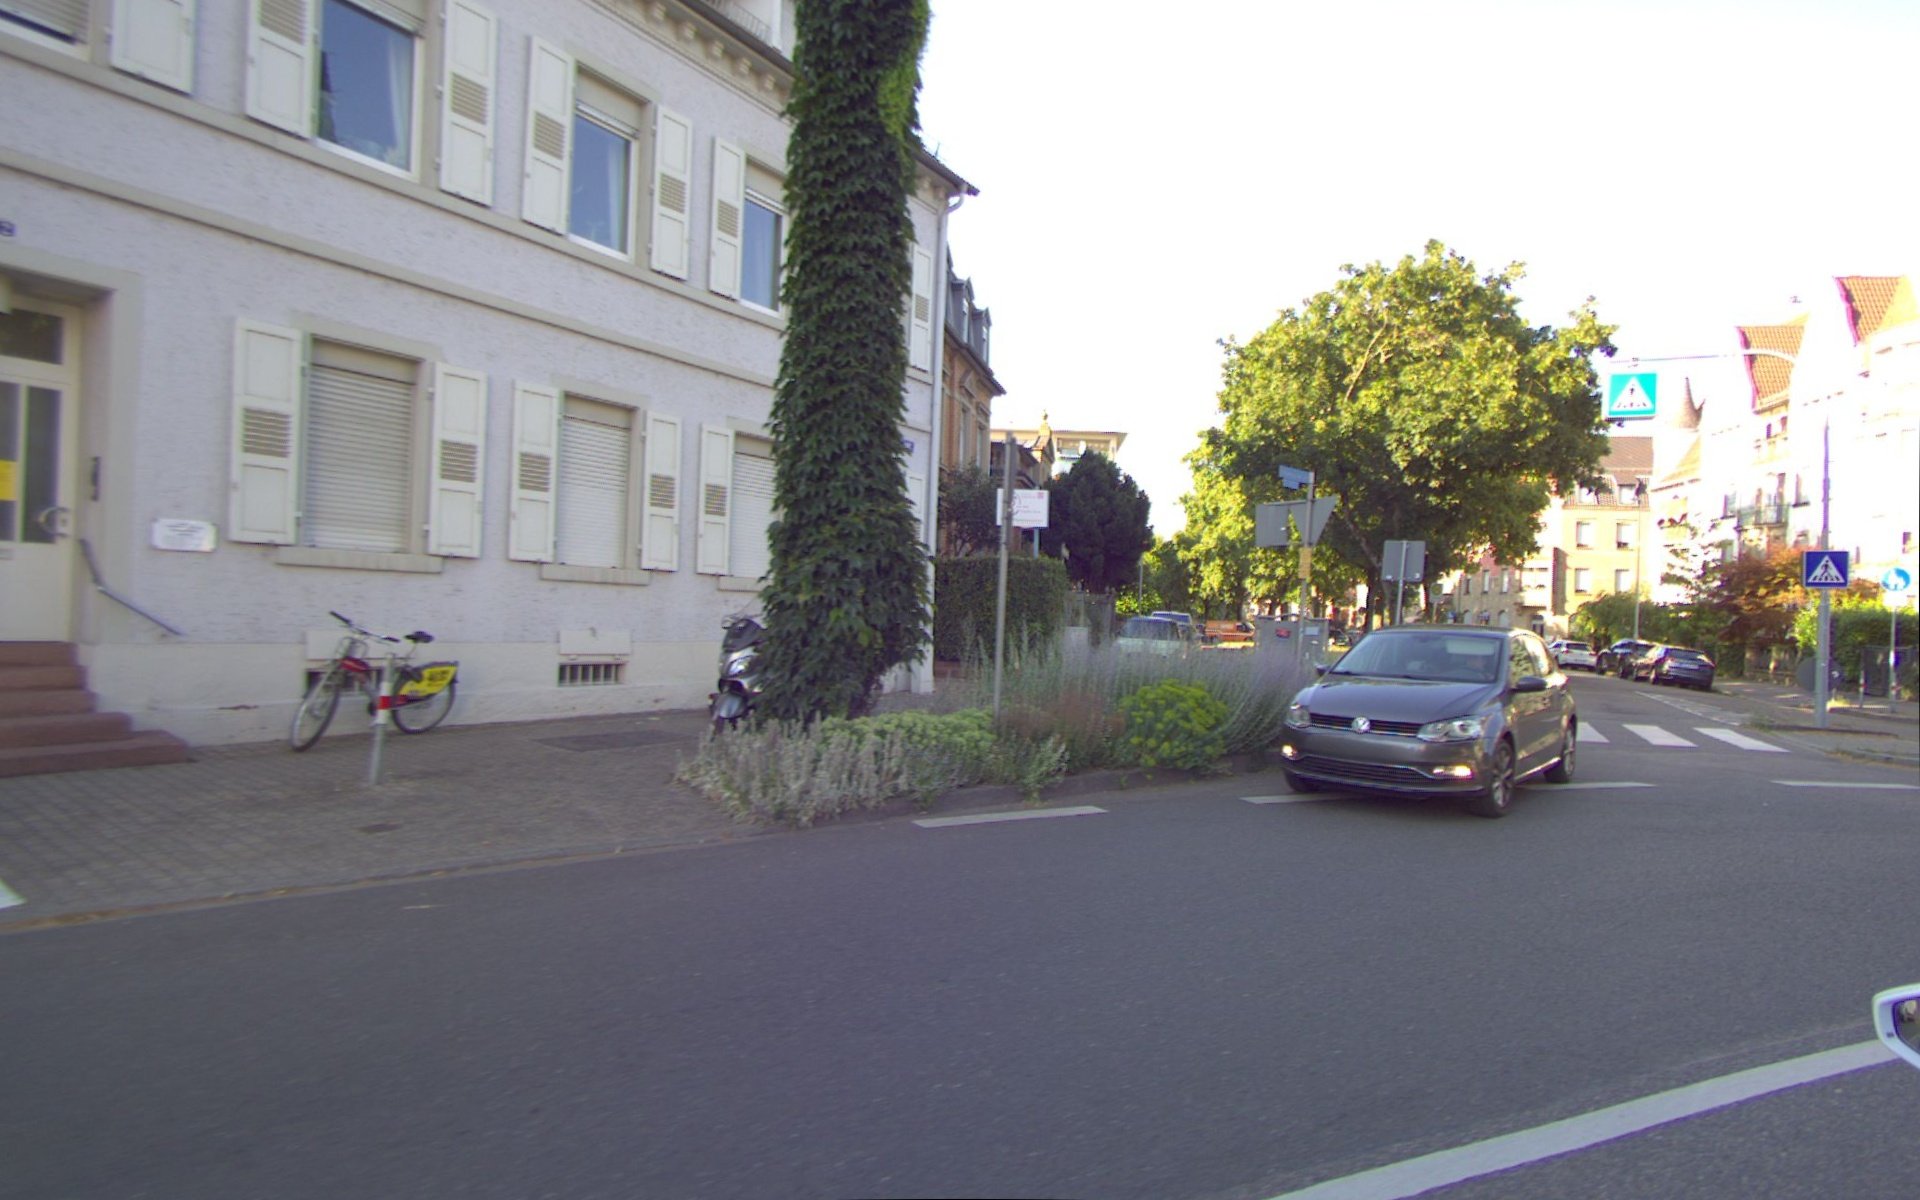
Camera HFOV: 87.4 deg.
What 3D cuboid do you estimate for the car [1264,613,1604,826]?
[{"bbox_3d":[4.243,0.856,8.692,1.693,1.422,3.718,-1,-2,42],"label":"car"}]

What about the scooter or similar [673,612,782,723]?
[{"bbox_3d":[-2.828,0.793,12.357,0.500,1.245,1.541,3,0,20],"label":"scooter or similar"}]

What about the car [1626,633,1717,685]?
[{"bbox_3d":[25.461,2.068,36.083,1.963,1.617,3.996,3,0,26],"label":"car"}]

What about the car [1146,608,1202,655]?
[{"bbox_3d":[8.614,1.230,40.156,1.902,1.685,4.512,3,0,15],"label":"car"}]

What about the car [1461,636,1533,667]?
[{"bbox_3d":[33.183,3.148,62.241,2.300,1.617,4.932,3,0,8],"label":"car"}]

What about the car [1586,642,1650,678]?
[{"bbox_3d":[26.662,2.400,40.784,1.630,1.253,3.793,3,0,26],"label":"car"}]

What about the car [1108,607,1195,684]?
[{"bbox_3d":[4.615,1.020,23.840,1.777,1.557,3.912,3,0,14],"label":"car"}]

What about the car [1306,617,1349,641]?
[{"bbox_3d":[34.740,2.719,95.051,2.301,2.067,4.930,3,0,2],"label":"car"}]

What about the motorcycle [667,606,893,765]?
[{"bbox_3d":[-1.745,0.802,10.341,0.916,1.375,2.562,3,0,25],"label":"motorcycle"}]

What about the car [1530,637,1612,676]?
[{"bbox_3d":[30.988,2.824,51.117,2.300,1.617,4.931,3,0,16],"label":"car"}]

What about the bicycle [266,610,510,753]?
[{"bbox_3d":[-5.080,0.683,9.073,0.568,1.124,1.868,3,0,27],"label":"bicycle"}]

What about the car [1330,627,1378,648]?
[{"bbox_3d":[34.559,3.264,88.275,2.301,1.617,4.930,3,0,2],"label":"car"}]

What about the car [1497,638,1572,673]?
[{"bbox_3d":[32.183,3.074,56.452,2.300,1.617,4.932,3,0,14],"label":"car"}]
